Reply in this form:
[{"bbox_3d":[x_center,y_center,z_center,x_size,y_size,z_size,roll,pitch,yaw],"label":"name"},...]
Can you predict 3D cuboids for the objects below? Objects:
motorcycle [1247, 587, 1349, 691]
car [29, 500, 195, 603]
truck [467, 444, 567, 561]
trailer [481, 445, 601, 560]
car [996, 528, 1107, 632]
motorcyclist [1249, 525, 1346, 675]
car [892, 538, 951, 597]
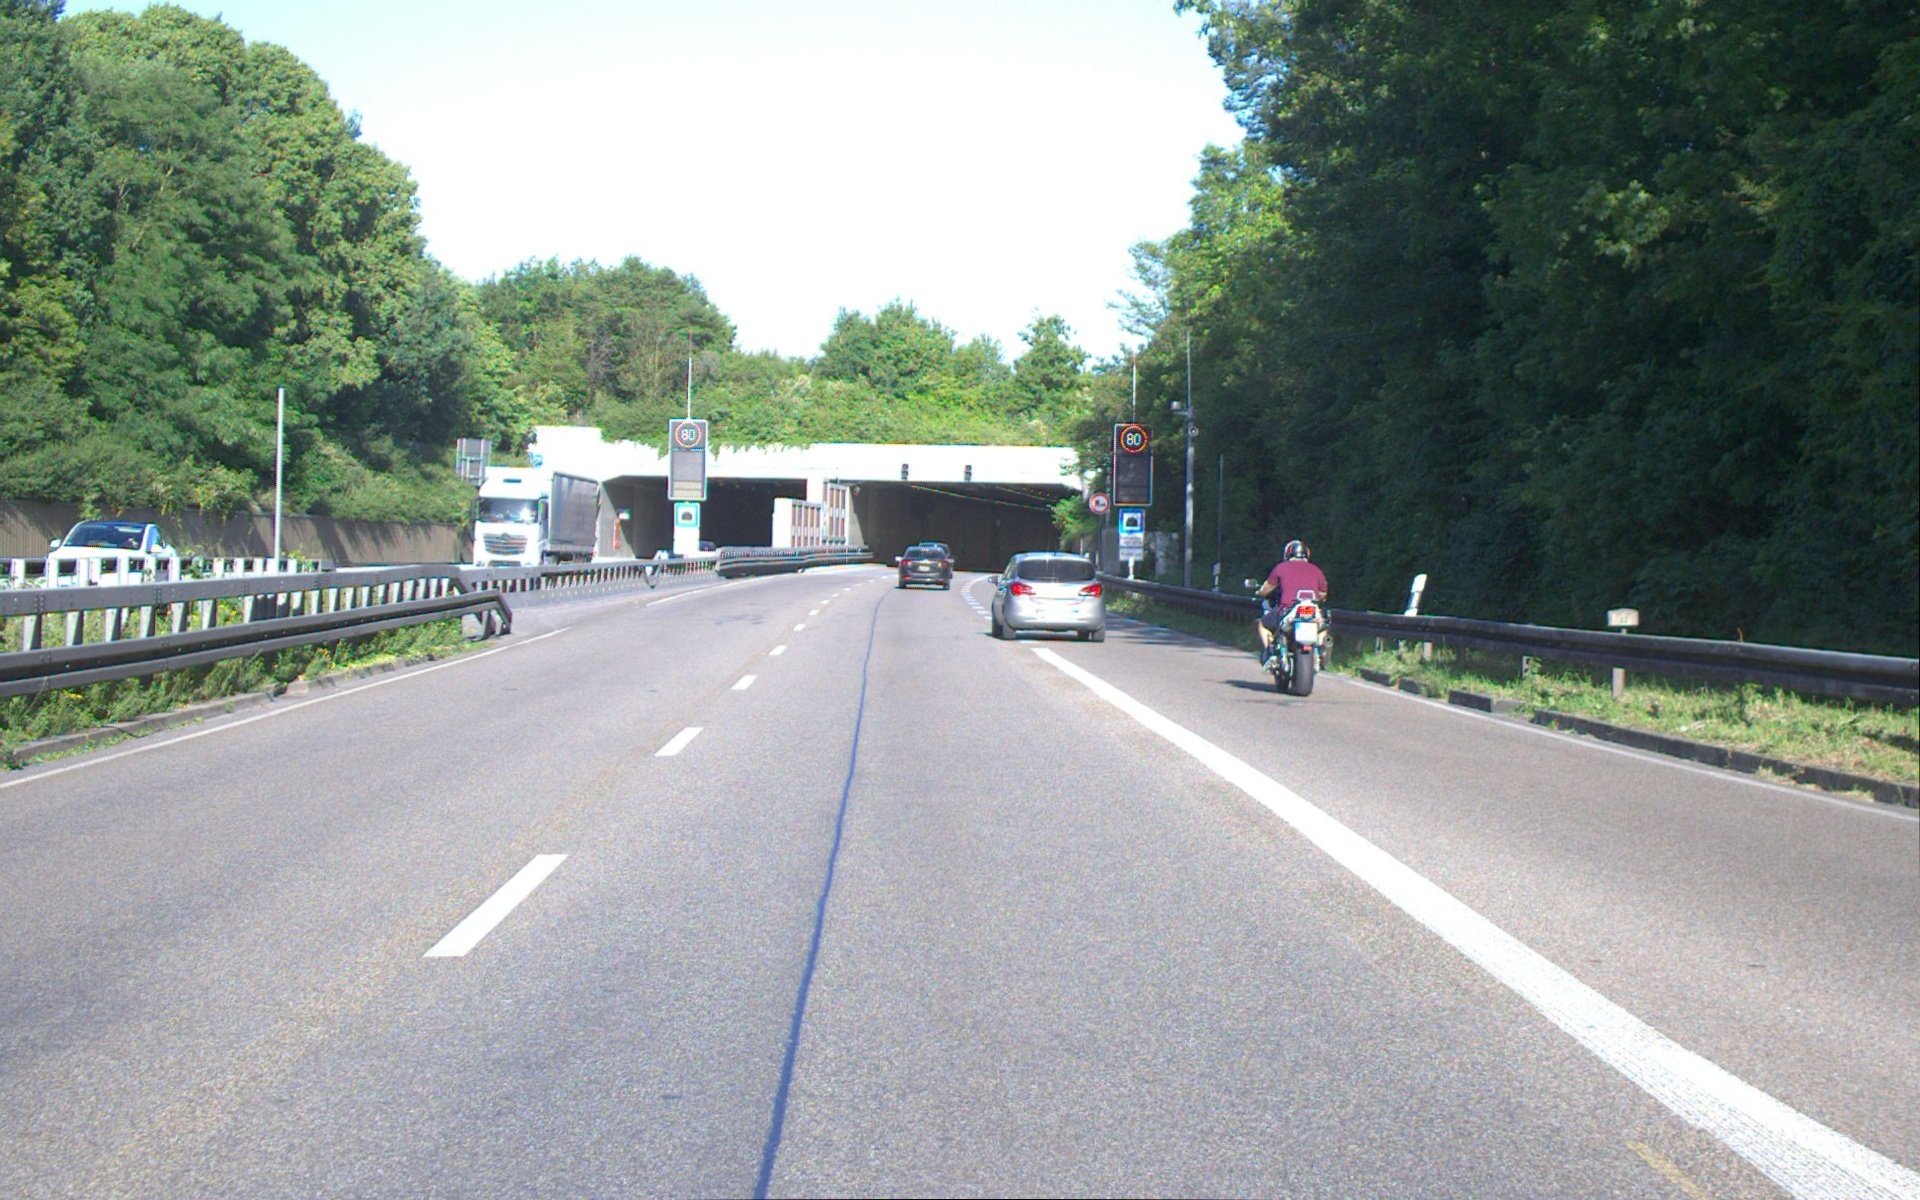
[{"bbox_3d":[3.530,0.391,36.135,0.858,0.988,2.728,3,1,2],"label":"motorcycle"},{"bbox_3d":[-16.205,-0.966,65.938,1.993,1.776,4.786,3,2,-1],"label":"car"},{"bbox_3d":[-16.956,-3.751,131.955,2.736,4.246,6.387,3,2,1],"label":"truck"},{"bbox_3d":[-16.818,-3.979,138.894,2.747,4.265,14.086,3,2,1],"label":"trailer"},{"bbox_3d":[1.499,-0.365,57.685,1.667,1.546,4.000,3,2,0],"label":"car"},{"bbox_3d":[3.537,-0.012,36.116,0.883,1.496,1.063,3,2,2],"label":"motorcyclist"},{"bbox_3d":[-1.340,-1.140,119.667,1.993,1.919,4.000,2,2,-1],"label":"car"}]
